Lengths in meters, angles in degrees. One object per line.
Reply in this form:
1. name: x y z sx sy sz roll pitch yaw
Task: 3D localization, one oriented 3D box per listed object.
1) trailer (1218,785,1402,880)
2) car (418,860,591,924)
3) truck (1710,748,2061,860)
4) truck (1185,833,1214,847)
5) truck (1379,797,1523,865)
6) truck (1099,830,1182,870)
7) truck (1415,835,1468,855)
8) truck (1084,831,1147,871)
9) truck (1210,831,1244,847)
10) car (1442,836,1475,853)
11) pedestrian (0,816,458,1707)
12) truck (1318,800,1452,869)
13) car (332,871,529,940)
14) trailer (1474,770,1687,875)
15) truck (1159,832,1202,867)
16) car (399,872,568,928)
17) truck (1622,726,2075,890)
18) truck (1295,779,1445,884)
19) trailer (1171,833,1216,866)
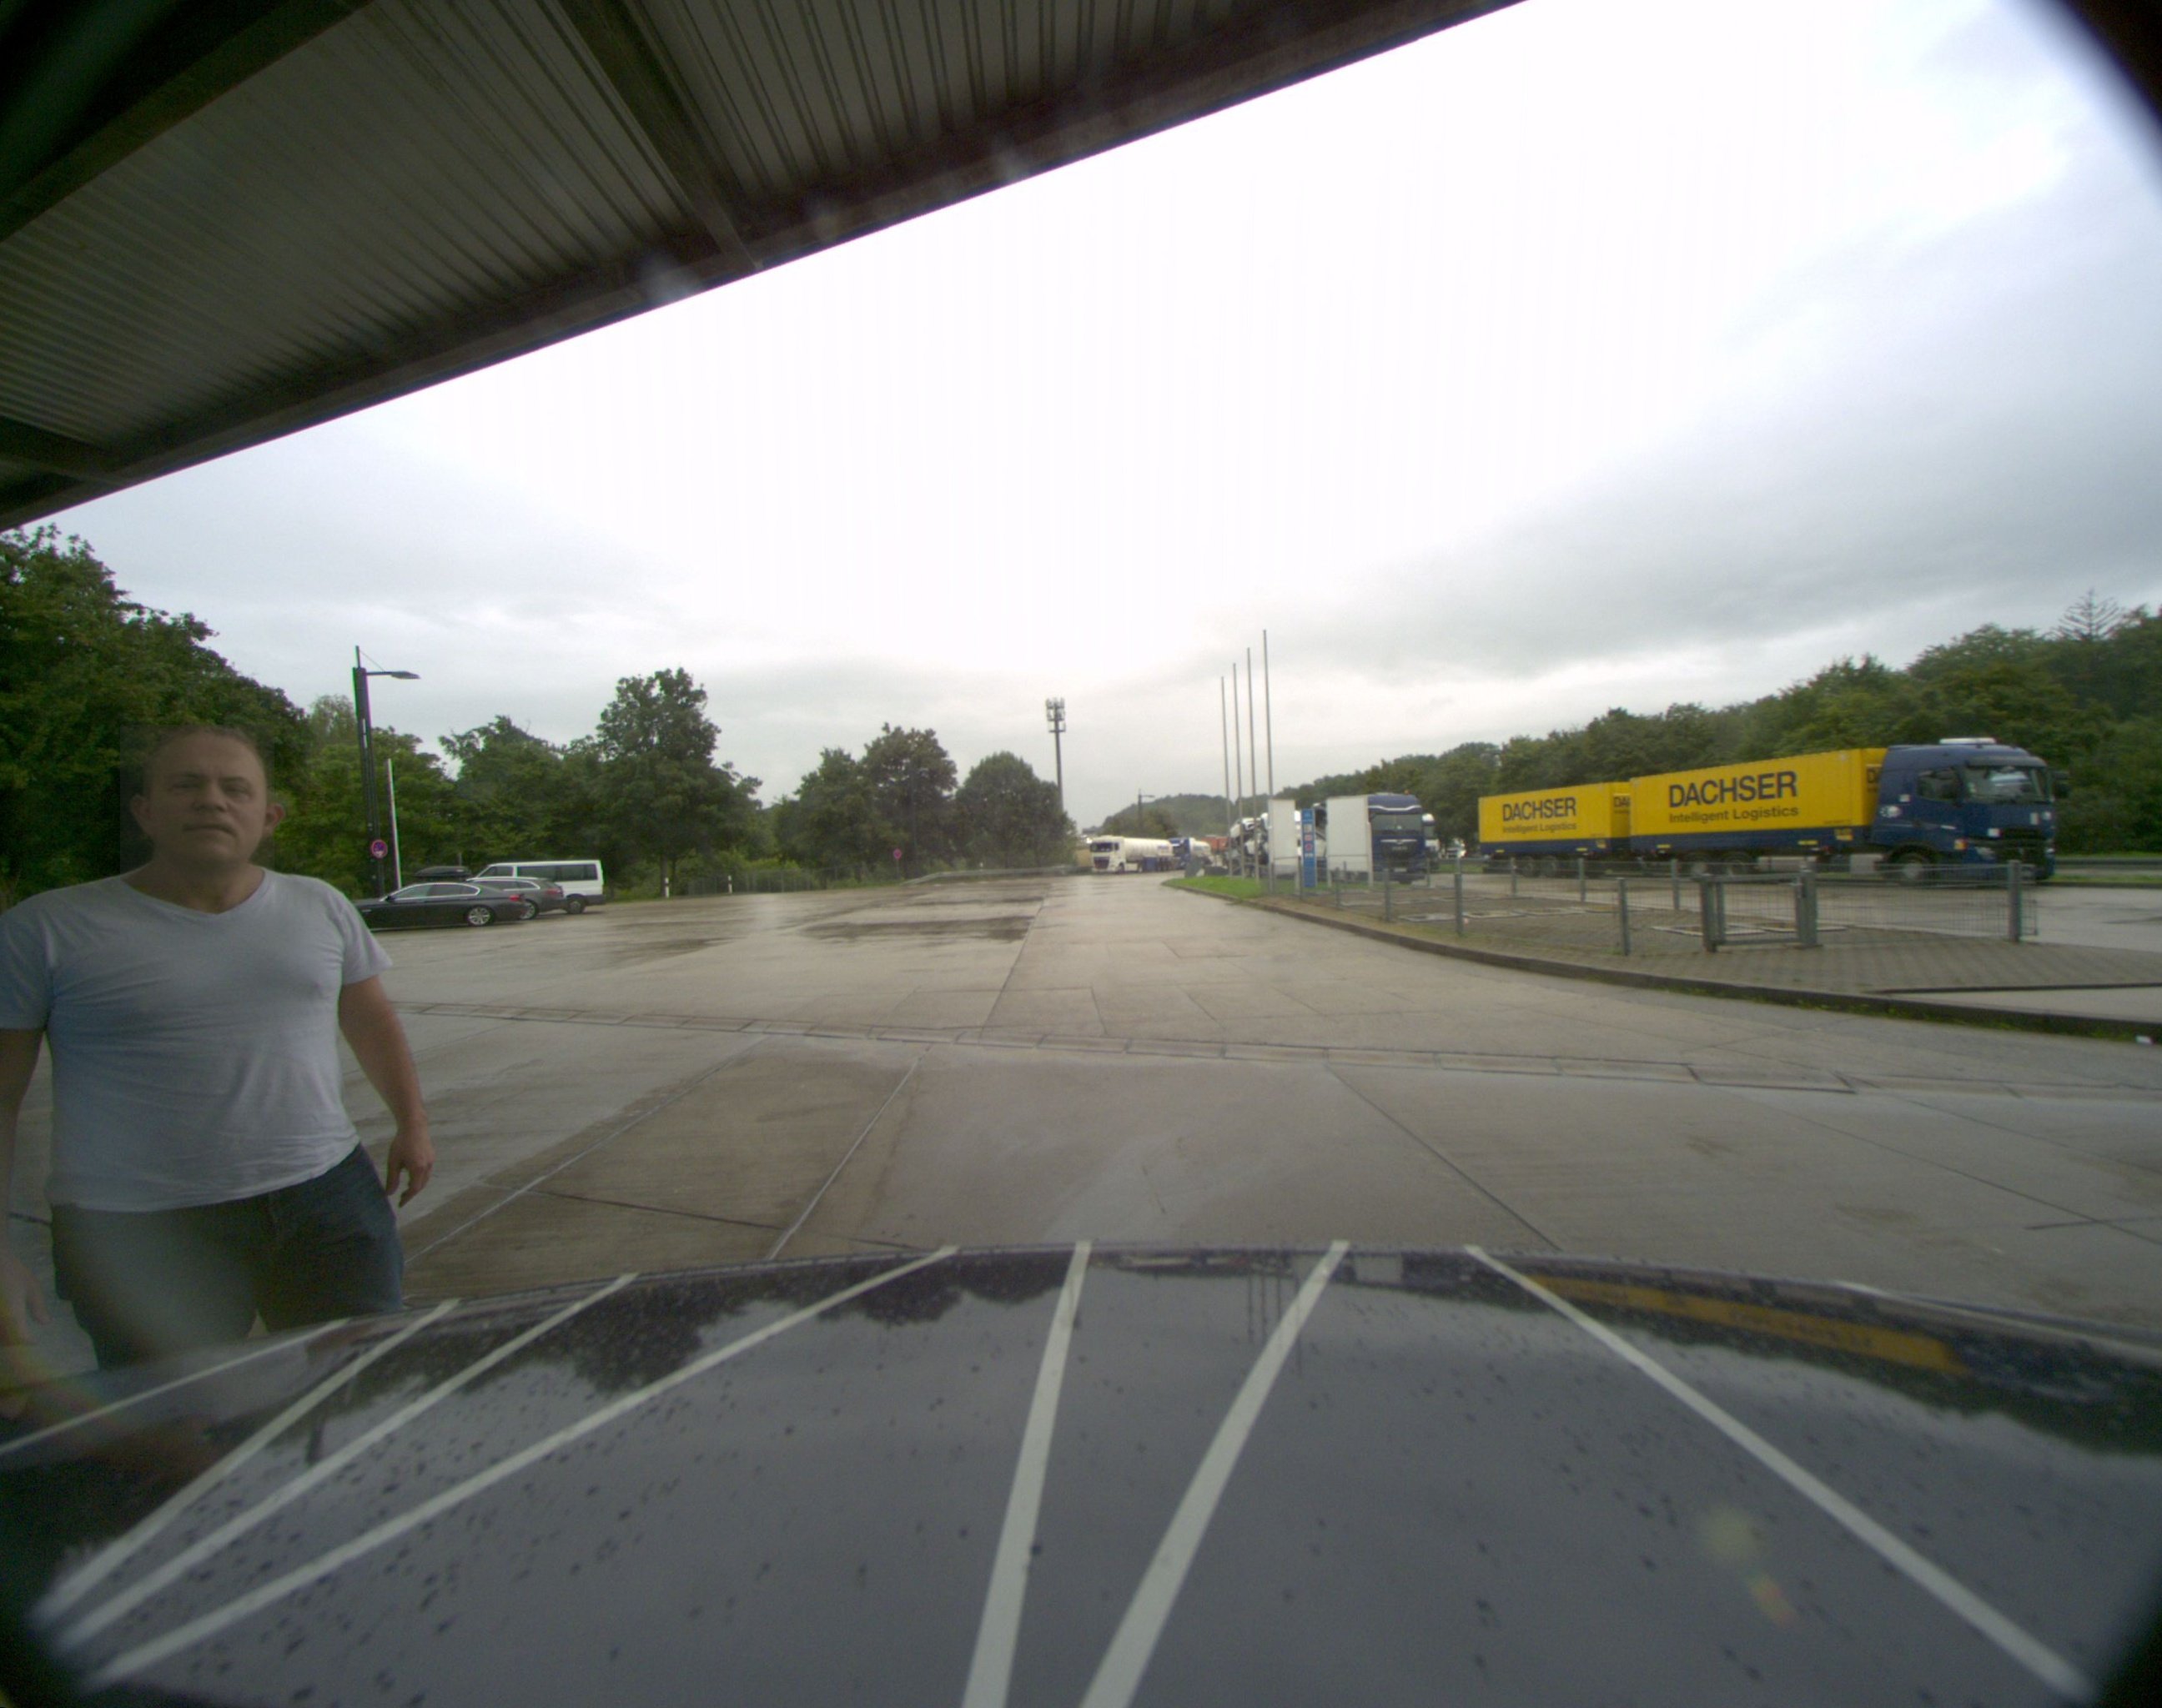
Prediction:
1. trailer: 11.368 -0.994 40.935 2.990 4.009 16.597 -2 1 -7
2. car: -20.726 1.294 27.581 4.780 1.974 2.010 -2 0 -36
3. truck: 33.766 -1.866 32.928 2.991 4.009 10.464 -2 1 -10
4. truck: 30.870 -3.553 198.994 3.251 3.543 16.548 -2 1 -7
5. truck: 24.354 -1.395 50.952 2.991 4.009 10.464 -2 1 -10
6. truck: 6.192 -0.519 76.345 3.243 3.544 11.995 -2 1 31
7. truck: 45.460 -1.106 95.940 3.135 2.290 6.172 -2 0 -7
8. truck: 3.309 -0.353 71.434 3.243 3.544 6.114 -2 1 31
9. truck: 33.640 -3.417 175.935 3.251 3.544 14.655 -1 1 -7
10. car: 51.765 -1.282 104.368 1.774 2.278 4.503 -2 0 -8
11. pedestrian: -1.736 0.843 1.405 0.493 1.800 0.634 -2 2 10
12. truck: 19.752 -1.213 50.428 2.991 4.009 10.464 -2 1 -10
13. car: -19.140 1.448 22.655 4.187 1.720 1.995 -2 0 -33
14. trailer: 21.777 -1.268 33.988 2.774 4.009 8.853 -2 1 -8
15. truck: 11.320 -0.520 85.730 3.045 3.745 6.475 -2 1 23
16. car: -19.660 1.451 25.277 4.187 1.547 1.995 -2 0 -33
17. truck: 23.055 -1.206 24.305 2.774 4.009 10.632 -2 1 -8
18. truck: 12.297 -0.918 33.244 2.990 4.009 7.259 -2 1 -7
19. trailer: 13.660 -0.647 91.438 2.898 3.618 10.586 -2 1 22
